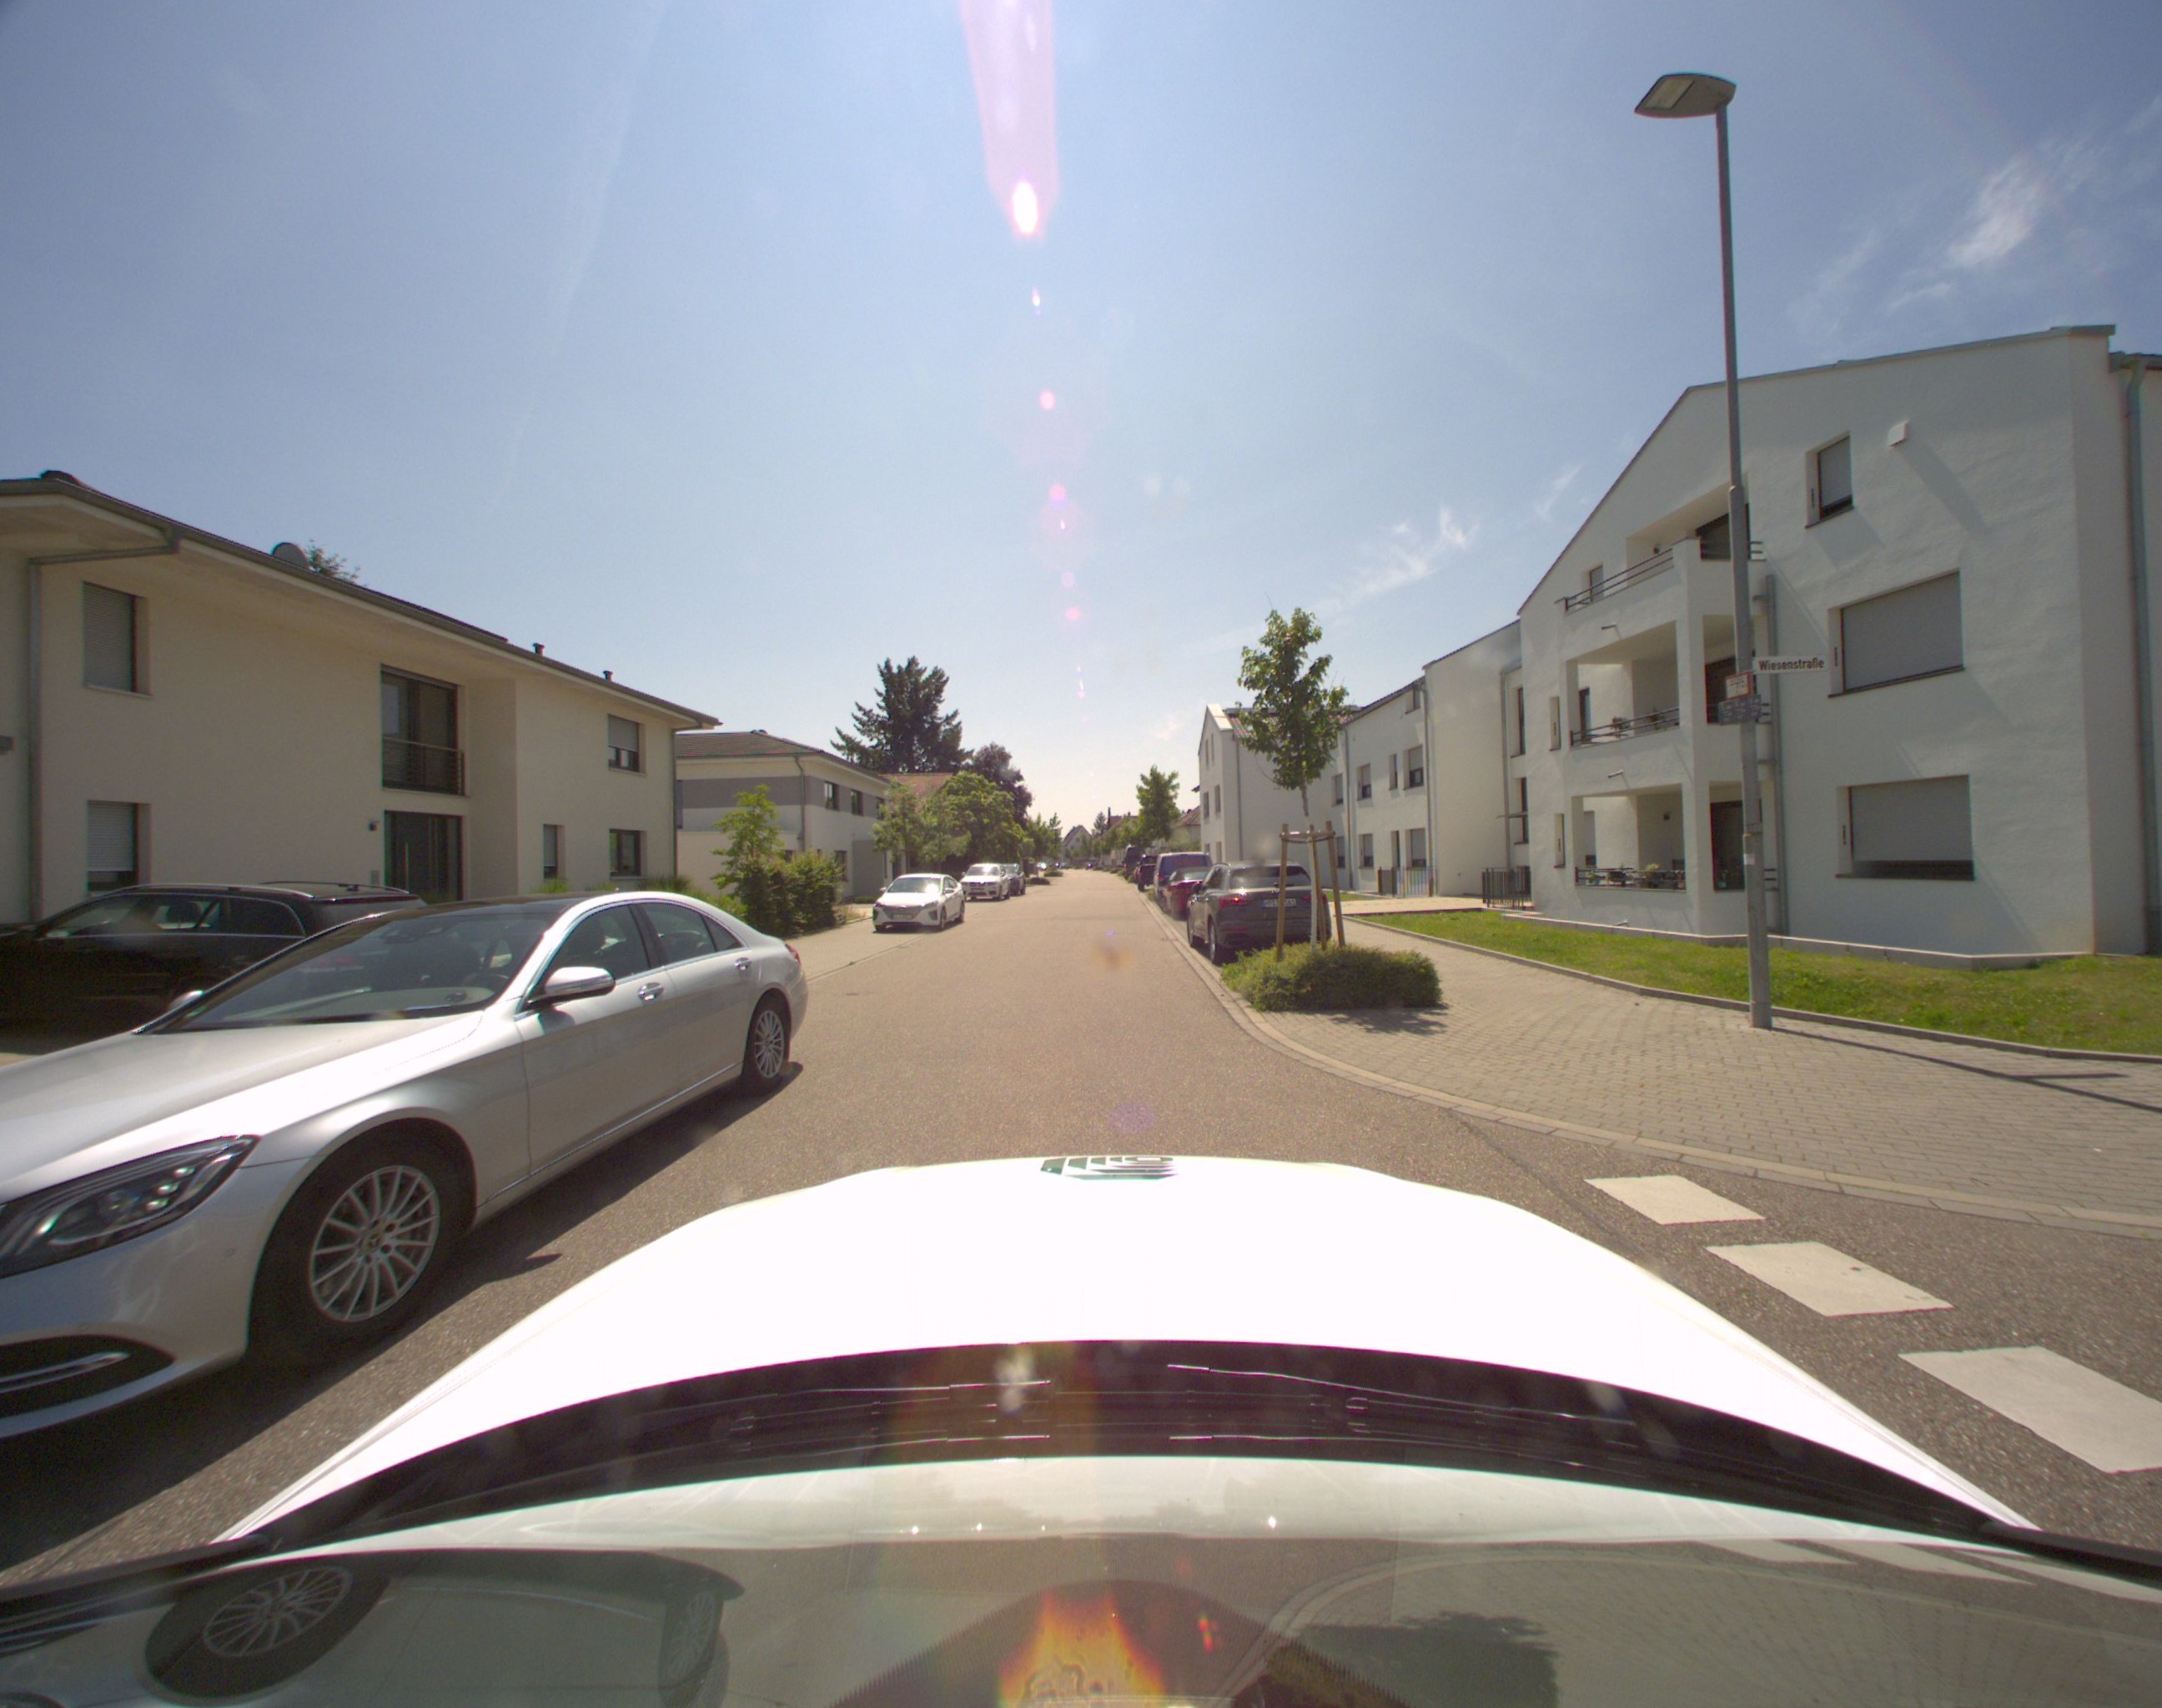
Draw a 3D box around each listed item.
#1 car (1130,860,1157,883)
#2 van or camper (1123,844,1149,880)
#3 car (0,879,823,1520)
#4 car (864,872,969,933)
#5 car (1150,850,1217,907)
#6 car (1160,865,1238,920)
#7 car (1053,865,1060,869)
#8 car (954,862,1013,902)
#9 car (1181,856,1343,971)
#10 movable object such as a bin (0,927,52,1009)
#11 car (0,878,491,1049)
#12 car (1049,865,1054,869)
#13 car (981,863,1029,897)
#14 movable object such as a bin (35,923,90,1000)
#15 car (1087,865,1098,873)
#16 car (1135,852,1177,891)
[{"bbox_3d":[4.483,1.265,58.878,1.665,1.595,3.555,-2,-1,0],"label":"car"},{"bbox_3d":[4.662,0.670,69.633,1.986,2.941,4.001,-2,-1,2],"label":"van or camper"},{"bbox_3d":[-3.205,0.965,4.381,1.845,1.478,4.703,-3,-1,3],"label":"car"},{"bbox_3d":[-4.421,1.262,22.610,1.844,1.488,4.387,0,-1,2],"label":"car"},{"bbox_3d":[3.742,0.880,30.451,2.090,1.882,4.846,-2,-1,3],"label":"car"},{"bbox_3d":[3.361,1.065,23.897,1.674,1.442,4.026,-2,-1,0],"label":"car"},{"bbox_3d":[-6.784,3.587,224.785,1.661,1.251,3.923,-2,-1,-6],"label":"car"},{"bbox_3d":[-4.415,1.254,37.446,1.919,1.687,4.500,-2,-1,2],"label":"car"},{"bbox_3d":[2.885,0.891,13.923,1.767,1.595,4.278,-2,-1,0],"label":"car"},{"bbox_3d":[-12.323,1.312,9.391,0.310,0.883,0.475,-1,-1,-5],"label":"movable object such as a bin"},{"bbox_3d":[-9.076,1.043,8.607,4.407,1.473,1.853,1,-1,5],"label":"car"},{"bbox_3d":[-8.589,3.834,234.033,1.187,1.070,3.045,-2,-1,-7],"label":"car"},{"bbox_3d":[-4.059,1.357,43.968,1.986,1.680,4.216,-2,-1,2],"label":"car"},{"bbox_3d":[-12.368,1.295,9.897,0.184,0.883,0.394,-1,-1,-5],"label":"movable object such as a bin"},{"bbox_3d":[2.357,2.960,163.989,1.986,1.574,4.002,-2,-1,2],"label":"car"},{"bbox_3d":[4.072,0.940,44.955,1.986,1.947,5.217,-3,-1,2],"label":"car"}]
